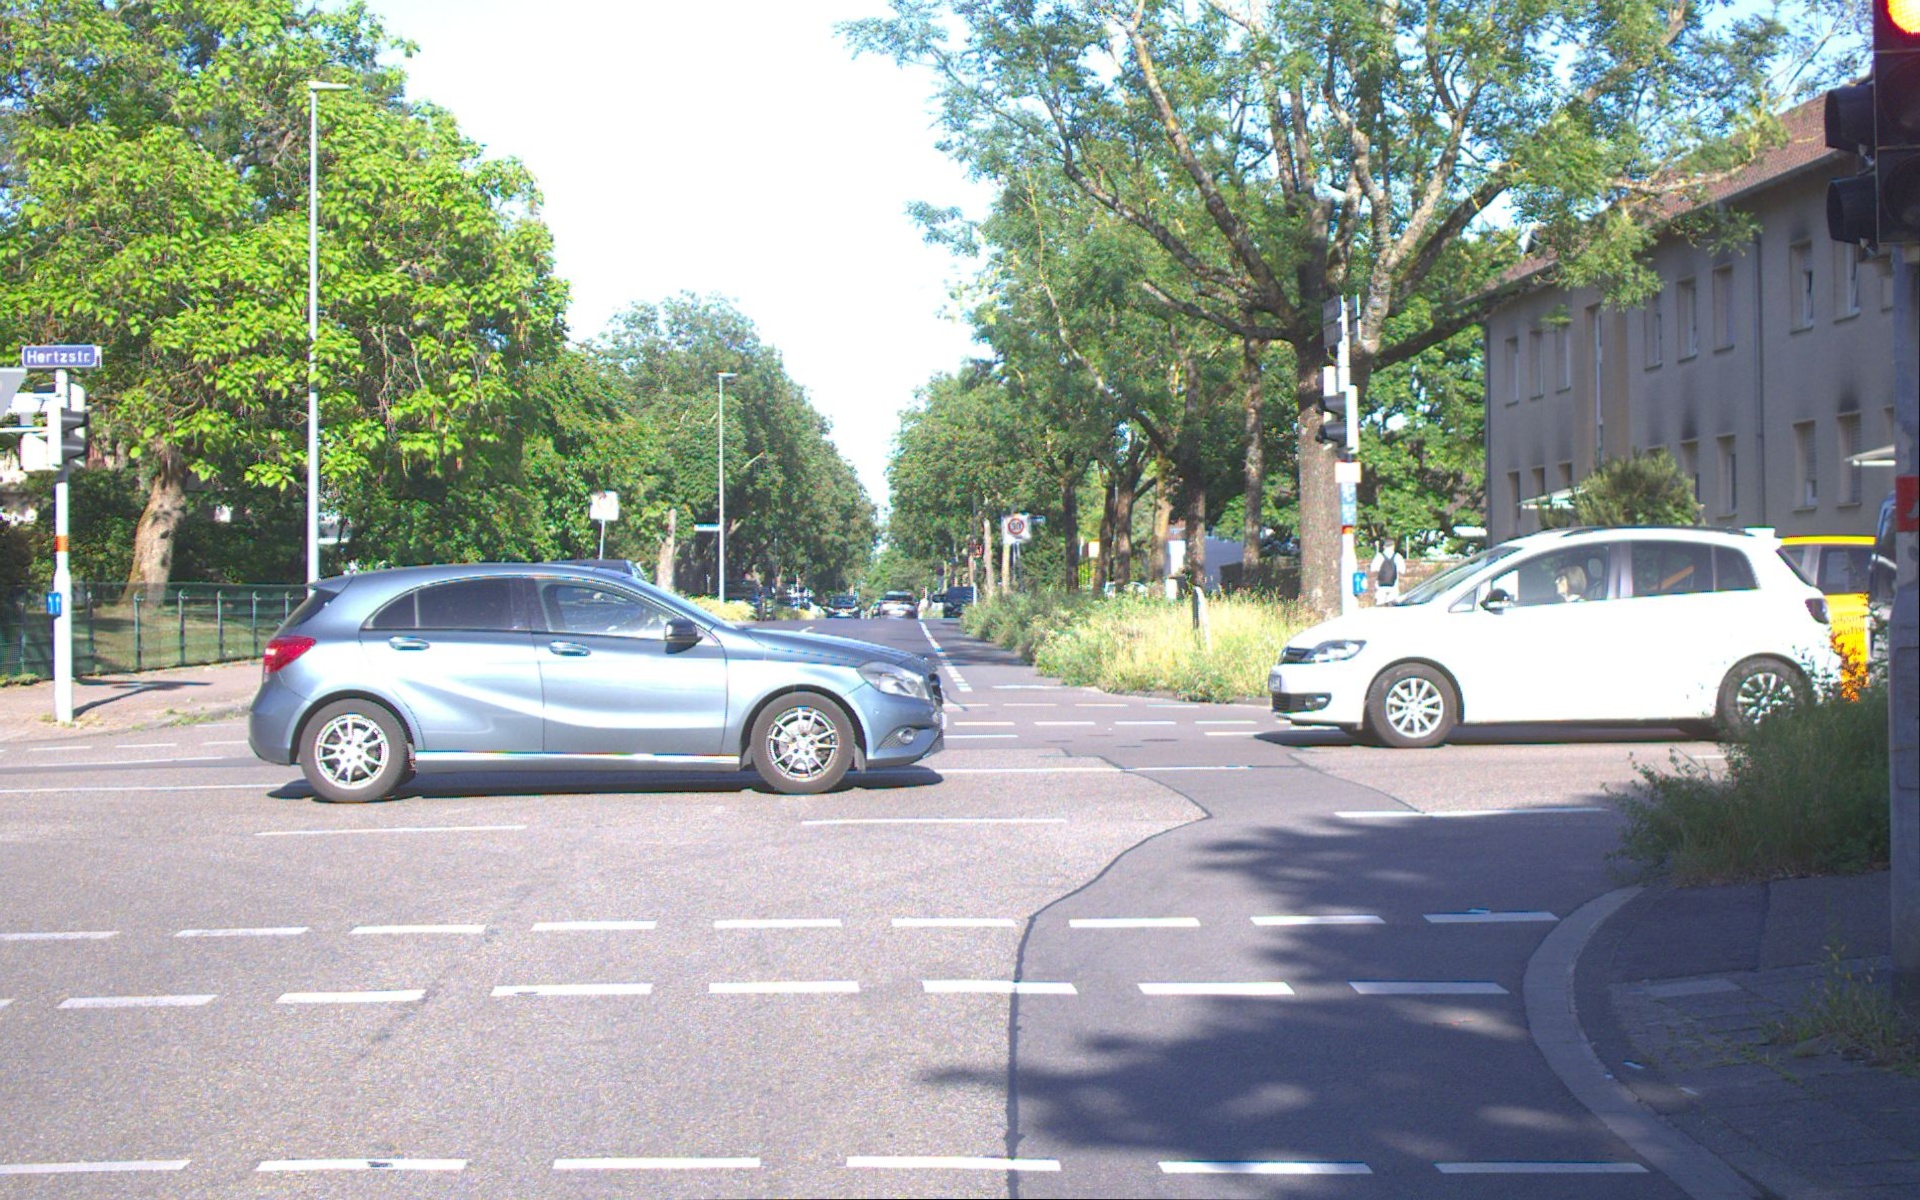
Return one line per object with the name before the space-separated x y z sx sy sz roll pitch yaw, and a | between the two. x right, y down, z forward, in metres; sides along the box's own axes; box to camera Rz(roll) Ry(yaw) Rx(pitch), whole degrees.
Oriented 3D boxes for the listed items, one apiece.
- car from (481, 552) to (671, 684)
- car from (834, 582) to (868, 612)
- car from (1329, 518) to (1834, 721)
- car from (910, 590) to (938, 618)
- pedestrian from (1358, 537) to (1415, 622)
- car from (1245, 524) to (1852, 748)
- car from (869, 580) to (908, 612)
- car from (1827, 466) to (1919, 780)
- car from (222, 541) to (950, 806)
car | -4.267 0.168 38.623 1.711 1.381 3.471 0 1 0
car | -6.160 -0.157 194.495 1.758 1.619 3.268 0 1 0
car | 5.126 0.142 28.577 3.988 1.577 1.757 1 0 9
car | -2.301 0.230 219.248 1.773 1.748 4.000 1 0 0
pedestrian | 7.649 -0.366 61.717 0.842 1.488 0.924 2 1 -1
car | 4.283 0.253 25.422 4.106 1.558 1.758 1 0 -4
car | -3.445 -0.183 166.144 1.844 1.456 3.530 0 1 -1
car | 7.863 0.095 21.515 4.344 1.881 1.860 -1 1 -4
car | -2.259 0.418 21.433 4.282 1.484 1.914 -1 1 -2
